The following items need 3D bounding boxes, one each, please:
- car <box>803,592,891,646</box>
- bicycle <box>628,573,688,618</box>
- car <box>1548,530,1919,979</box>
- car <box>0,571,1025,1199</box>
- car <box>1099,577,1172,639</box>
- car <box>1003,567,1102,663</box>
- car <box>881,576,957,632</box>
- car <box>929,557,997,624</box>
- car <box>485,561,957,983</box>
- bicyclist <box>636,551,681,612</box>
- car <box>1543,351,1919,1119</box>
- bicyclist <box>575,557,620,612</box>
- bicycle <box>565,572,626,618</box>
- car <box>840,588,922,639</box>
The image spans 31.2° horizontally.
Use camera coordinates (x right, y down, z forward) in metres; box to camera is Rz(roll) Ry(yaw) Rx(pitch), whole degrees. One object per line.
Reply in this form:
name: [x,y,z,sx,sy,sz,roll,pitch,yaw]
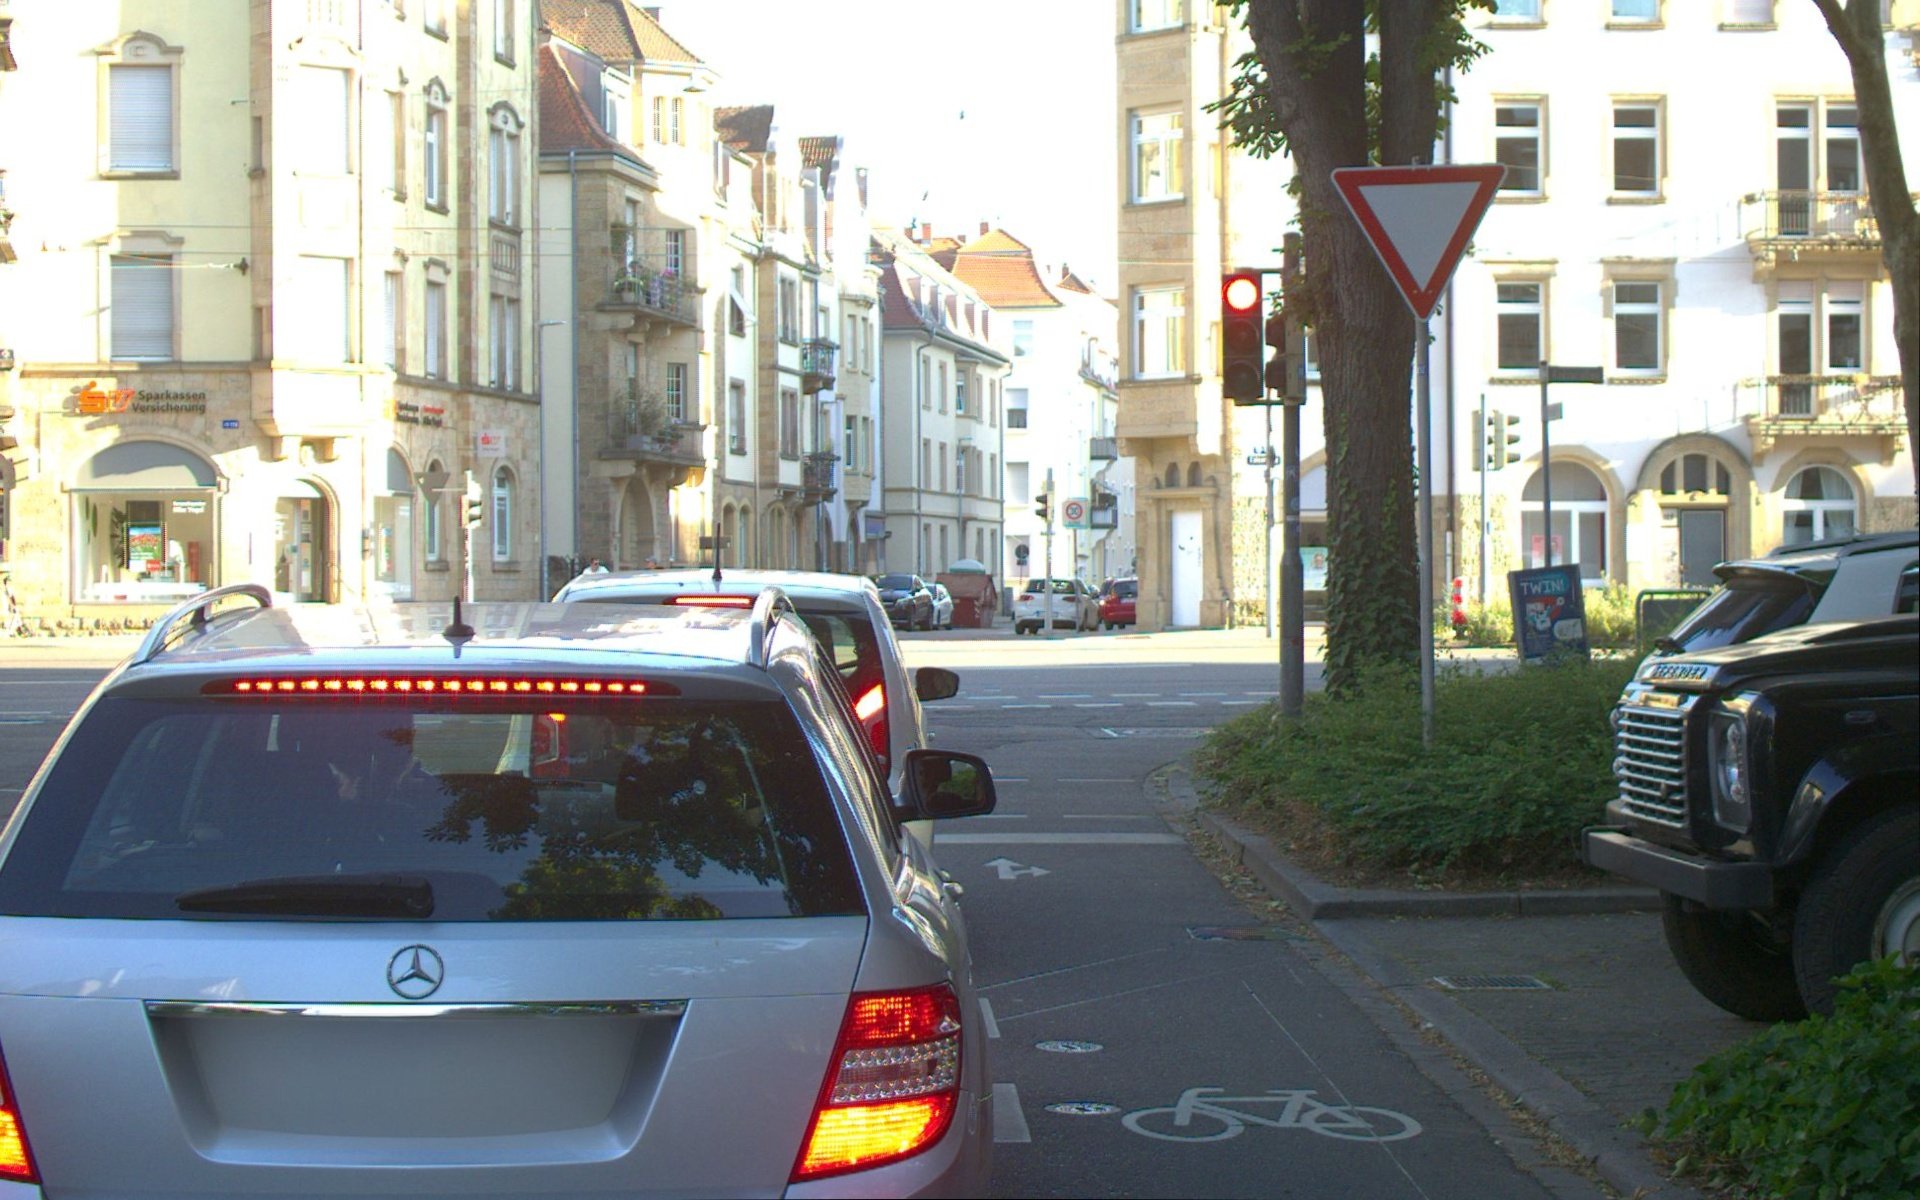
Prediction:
car: [-3.158,0.525,97.036,1.835,1.397,3.999,0,1,8]
bicycle: [-6.443,-0.101,73.469,0.771,0.931,1.939,1,1,11]
car: [4.294,0.504,13.087,3.723,1.564,1.709,-1,0,-4]
car: [-0.893,0.683,6.956,1.777,1.447,4.548,0,1,-2]
car: [5.219,0.220,101.927,1.835,1.738,3.999,0,1,8]
car: [2.343,0.355,85.895,2.031,2.272,3.999,0,1,8]
car: [-1.278,0.120,108.757,1.835,1.657,3.999,0,1,8]
car: [0.131,-0.351,117.345,1.787,2.196,3.999,0,1,8]
car: [-0.910,0.573,14.046,1.619,1.442,4.345,0,1,-2]
bicyclist: [-6.442,-0.394,73.465,0.771,1.285,0.752,1,1,11]
car: [4.140,0.304,10.117,4.465,2.029,1.701,-1,0,-3]
bicyclist: [-7.749,-0.333,73.456,0.771,1.152,0.752,1,1,11]
bicycle: [-7.767,-0.111,73.381,0.771,0.936,1.939,1,1,11]
car: [-2.323,0.397,102.527,1.835,1.397,3.999,0,1,8]
